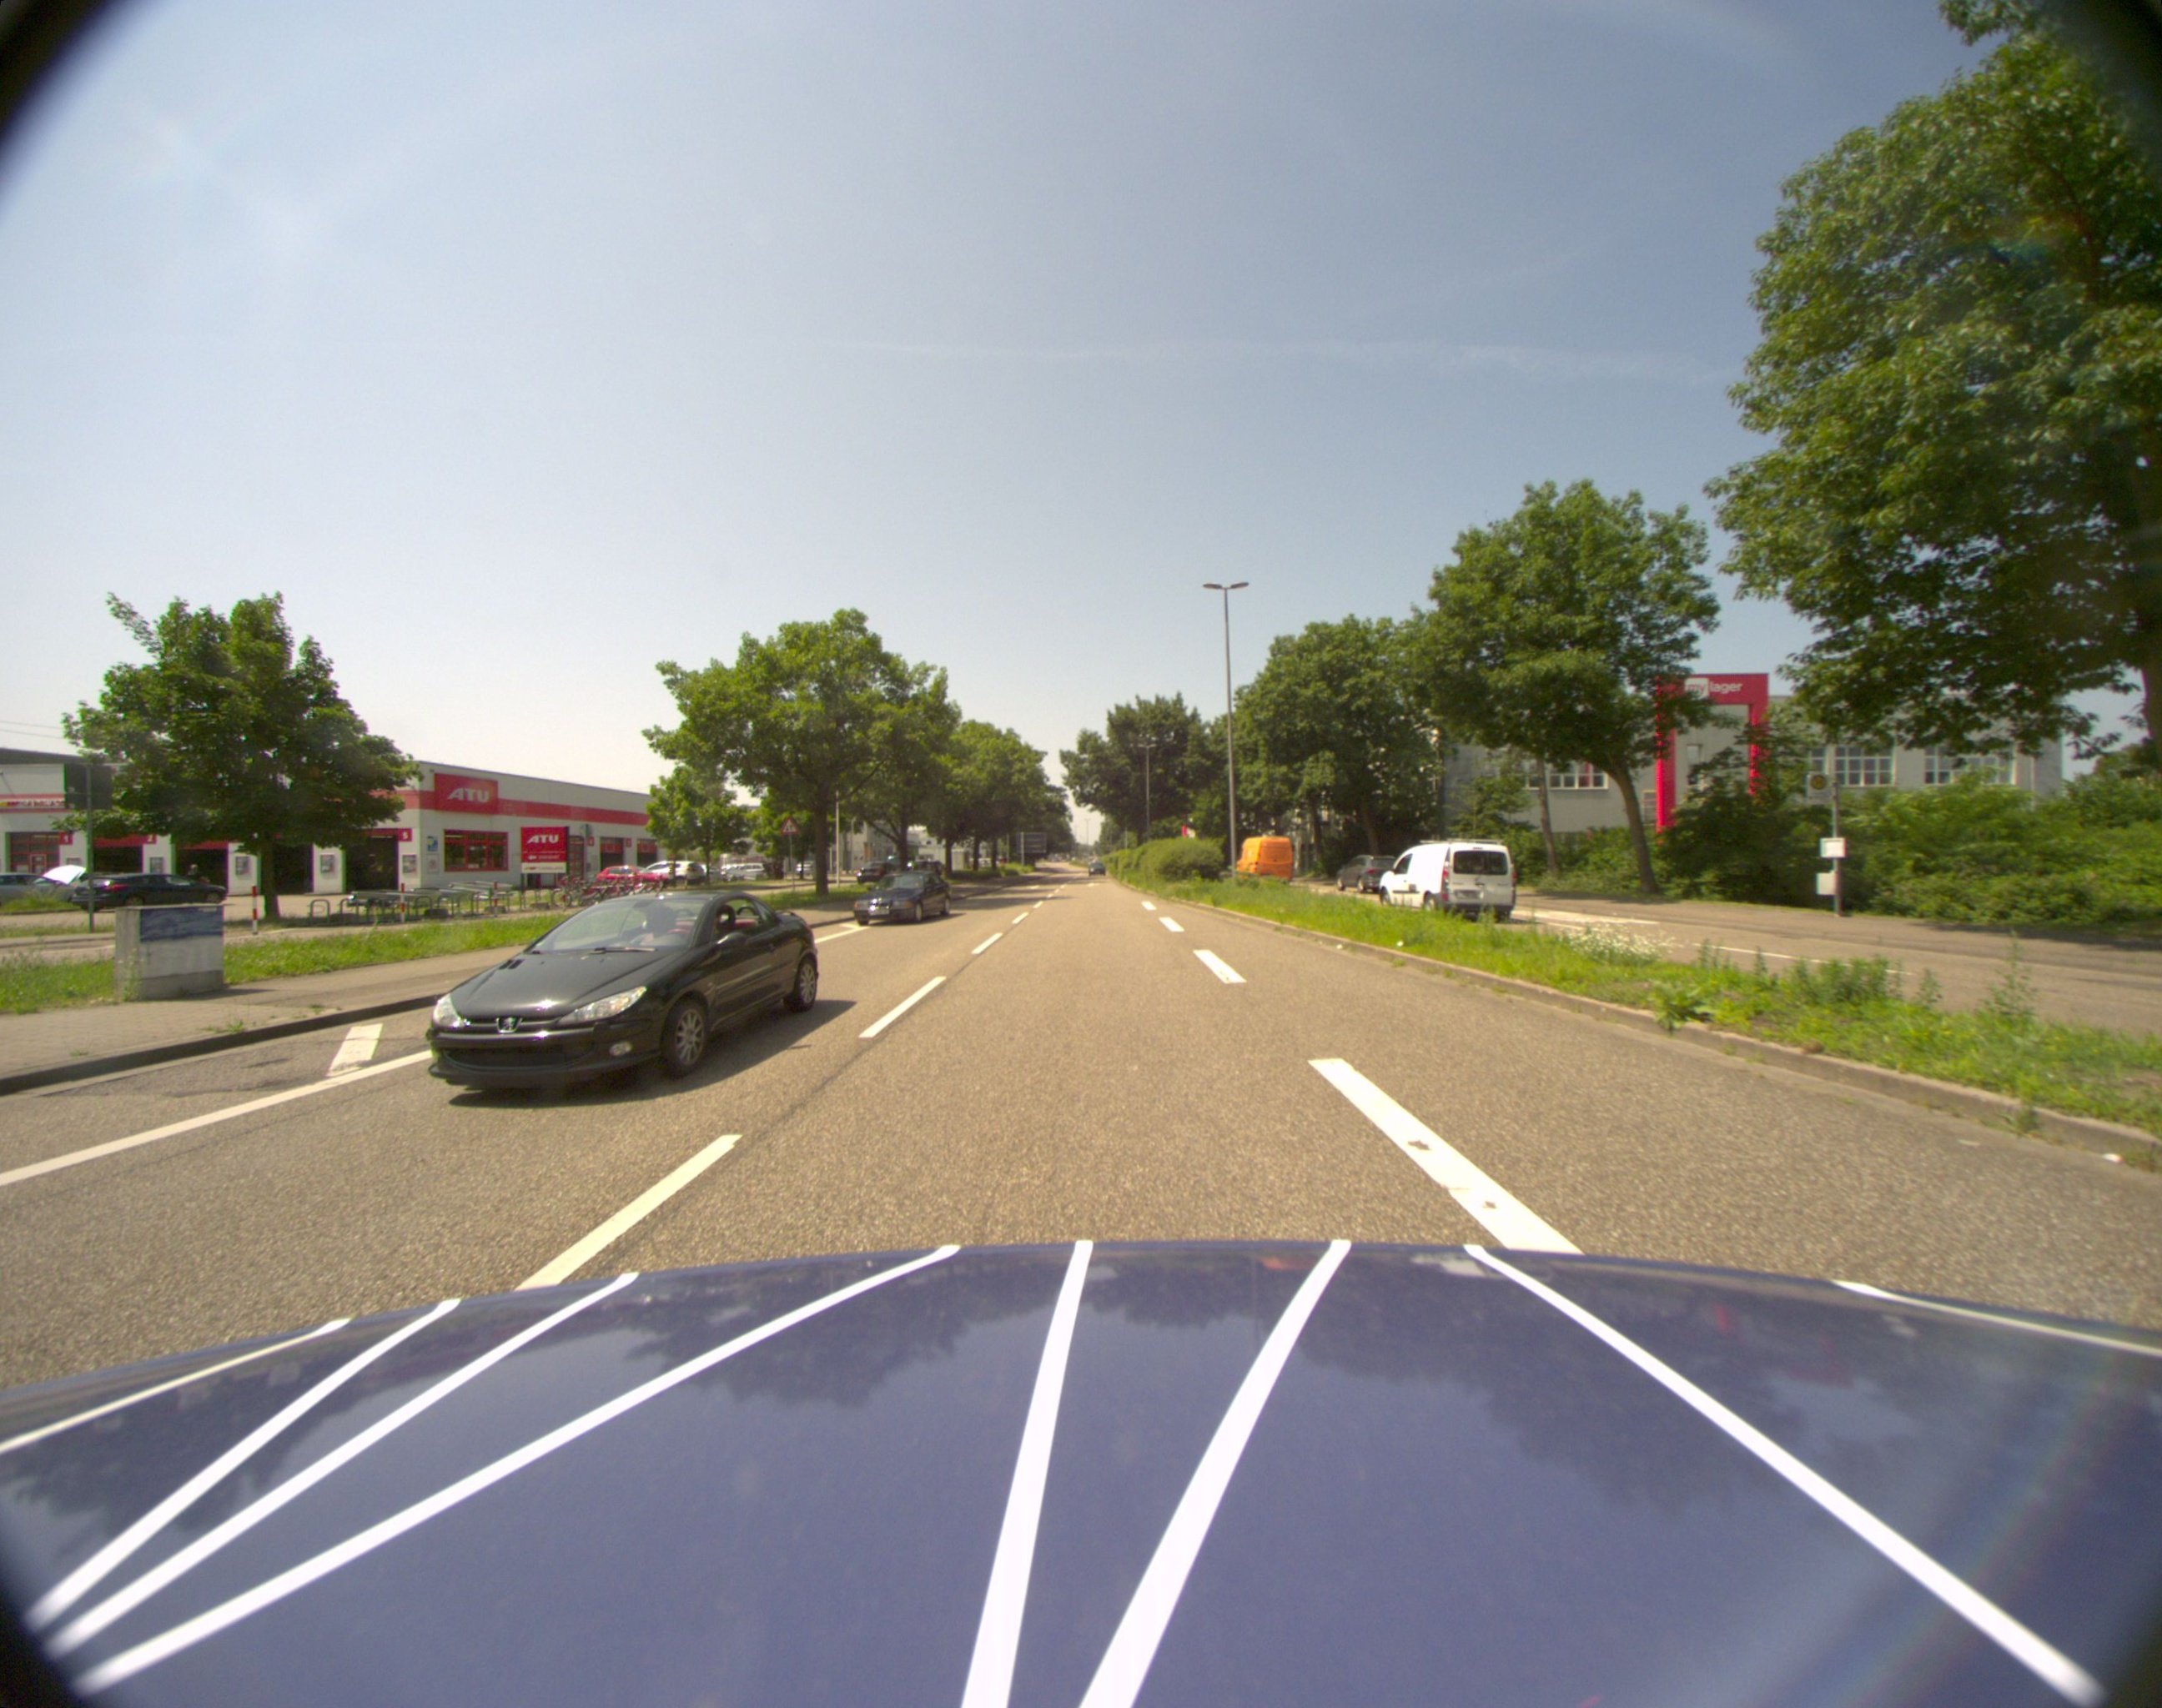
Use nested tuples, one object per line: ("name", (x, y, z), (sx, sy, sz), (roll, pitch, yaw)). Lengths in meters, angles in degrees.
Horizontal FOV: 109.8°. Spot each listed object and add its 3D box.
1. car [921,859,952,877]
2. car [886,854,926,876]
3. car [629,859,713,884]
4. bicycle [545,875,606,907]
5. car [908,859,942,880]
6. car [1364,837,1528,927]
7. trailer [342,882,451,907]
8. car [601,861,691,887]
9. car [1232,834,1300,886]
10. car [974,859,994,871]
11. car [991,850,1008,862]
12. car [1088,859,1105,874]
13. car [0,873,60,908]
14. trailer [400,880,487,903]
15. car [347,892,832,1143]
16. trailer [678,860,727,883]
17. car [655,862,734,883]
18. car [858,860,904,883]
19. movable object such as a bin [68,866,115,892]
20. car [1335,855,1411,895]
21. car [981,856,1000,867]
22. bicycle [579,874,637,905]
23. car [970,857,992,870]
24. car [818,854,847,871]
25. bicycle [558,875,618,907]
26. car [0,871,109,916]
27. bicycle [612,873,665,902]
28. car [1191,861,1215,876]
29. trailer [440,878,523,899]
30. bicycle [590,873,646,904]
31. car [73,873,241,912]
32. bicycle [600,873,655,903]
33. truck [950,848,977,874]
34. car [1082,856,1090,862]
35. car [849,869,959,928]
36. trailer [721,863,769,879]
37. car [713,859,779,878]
("car", (-12.275, 1.162, 64.829), (1.719, 1.504, 4.001), (0, 0, 2))
("car", (-12.263, 0.775, 53.417), (1.719, 1.458, 4.001), (0, 0, 2))
("car", (-24.230, 1.010, 44.950), (3.998, 1.394, 1.747), (0, 0, -2))
("bicycle", (-17.954, 1.308, 27.003), (1.784, 1.117, 0.514), (0, 0, -5))
("car", (-12.041, 1.167, 58.820), (1.719, 1.511, 4.001), (0, 0, 2))
("car", (8.750, 0.616, 18.700), (1.856, 1.894, 4.426), (2, 0, 1))
("trailer", (-23.394, 1.382, 26.022), (2.466, 0.757, 1.449), (-1, 0, 3))
("car", (-24.264, 1.102, 42.438), (3.997, 1.394, 1.747), (0, 0, -1))
("car", (9.898, 0.321, 41.195), (2.271, 2.552, 6.058), (1, 0, 1))
("car", (-11.349, 1.276, 88.980), (1.719, 1.458, 4.001), (0, 0, 2))
("car", (-10.965, 0.275, 102.718), (1.719, 1.458, 4.001), (0, 0, 2))
("car", (1.520, 1.213, 74.631), (1.642, 1.395, 4.000), (0, 0, 1))
("car", (-44.284, 1.479, 30.284), (1.726, 1.364, 4.000), (0, 0, 1))
("trailer", (-23.345, 1.357, 27.865), (2.137, 0.757, 1.267), (-1, 0, 3))
("car", (-3.755, 1.133, 6.791), (1.642, 1.336, 4.000), (-2, 0, 1))
("trailer", (-26.007, 1.208, 52.228), (2.642, 1.518, 1.415), (0, 0, -1))
("car", (-24.090, 1.135, 47.457), (3.998, 1.201, 1.747), (0, 0, -2))
("car", (-12.422, 1.056, 47.426), (1.642, 1.363, 4.001), (0, 0, 2))
("movable object such as a bin", (-50.384, 1.264, 38.686), (1.002, 1.251, 1.067), (0, 0, 5))
("car", (12.716, 0.866, 33.330), (1.720, 1.594, 4.213), (2, 0, 1))
("car", (-11.496, 0.949, 96.783), (1.719, 1.458, 4.001), (0, 0, 2))
("bicycle", (-17.646, 1.306, 28.394), (1.784, 1.117, 0.514), (0, 0, -5))
("car", (-10.769, 1.017, 82.382), (1.719, 1.458, 4.001), (0, 0, 2))
("car", (-23.994, 0.770, 73.526), (1.759, 1.586, 3.998), (0, 0, -5))
("bicycle", (-17.904, 1.324, 27.630), (1.784, 1.117, 0.514), (0, 0, -5))
("car", (-41.622, 1.533, 29.752), (1.717, 1.653, 4.145), (0, 0, 1))
("bicycle", (-17.658, 1.315, 30.336), (1.784, 1.117, 0.514), (0, 0, -5))
("car", (12.637, 1.467, 79.135), (1.690, 1.379, 4.587), (2, 0, 0))
("trailer", (-23.341, 1.335, 29.633), (2.137, 0.757, 1.394), (-1, 0, 3))
("bicycle", (-17.671, 1.314, 29.028), (1.784, 1.117, 0.514), (0, 0, -5))
("car", (-37.420, 1.505, 30.953), (1.717, 1.364, 4.145), (0, 0, 1))
("bicycle", (-17.664, 1.322, 29.629), (1.784, 1.117, 0.514), (0, 0, -5))
("truck", (-11.844, 0.731, 76.562), (1.904, 2.552, 4.001), (0, 0, 3))
("car", (1.455, 1.376, 219.130), (1.998, 1.692, 4.000), (0, 0, 1))
("car", (-4.820, 1.177, 21.308), (1.641, 1.363, 4.147), (-2, 0, 6))
("trailer", (-23.079, 1.162, 52.247), (2.642, 1.046, 1.578), (0, 0, -1))
("car", (-23.941, 1.013, 54.413), (3.998, 1.293, 1.689), (0, 0, -2))
